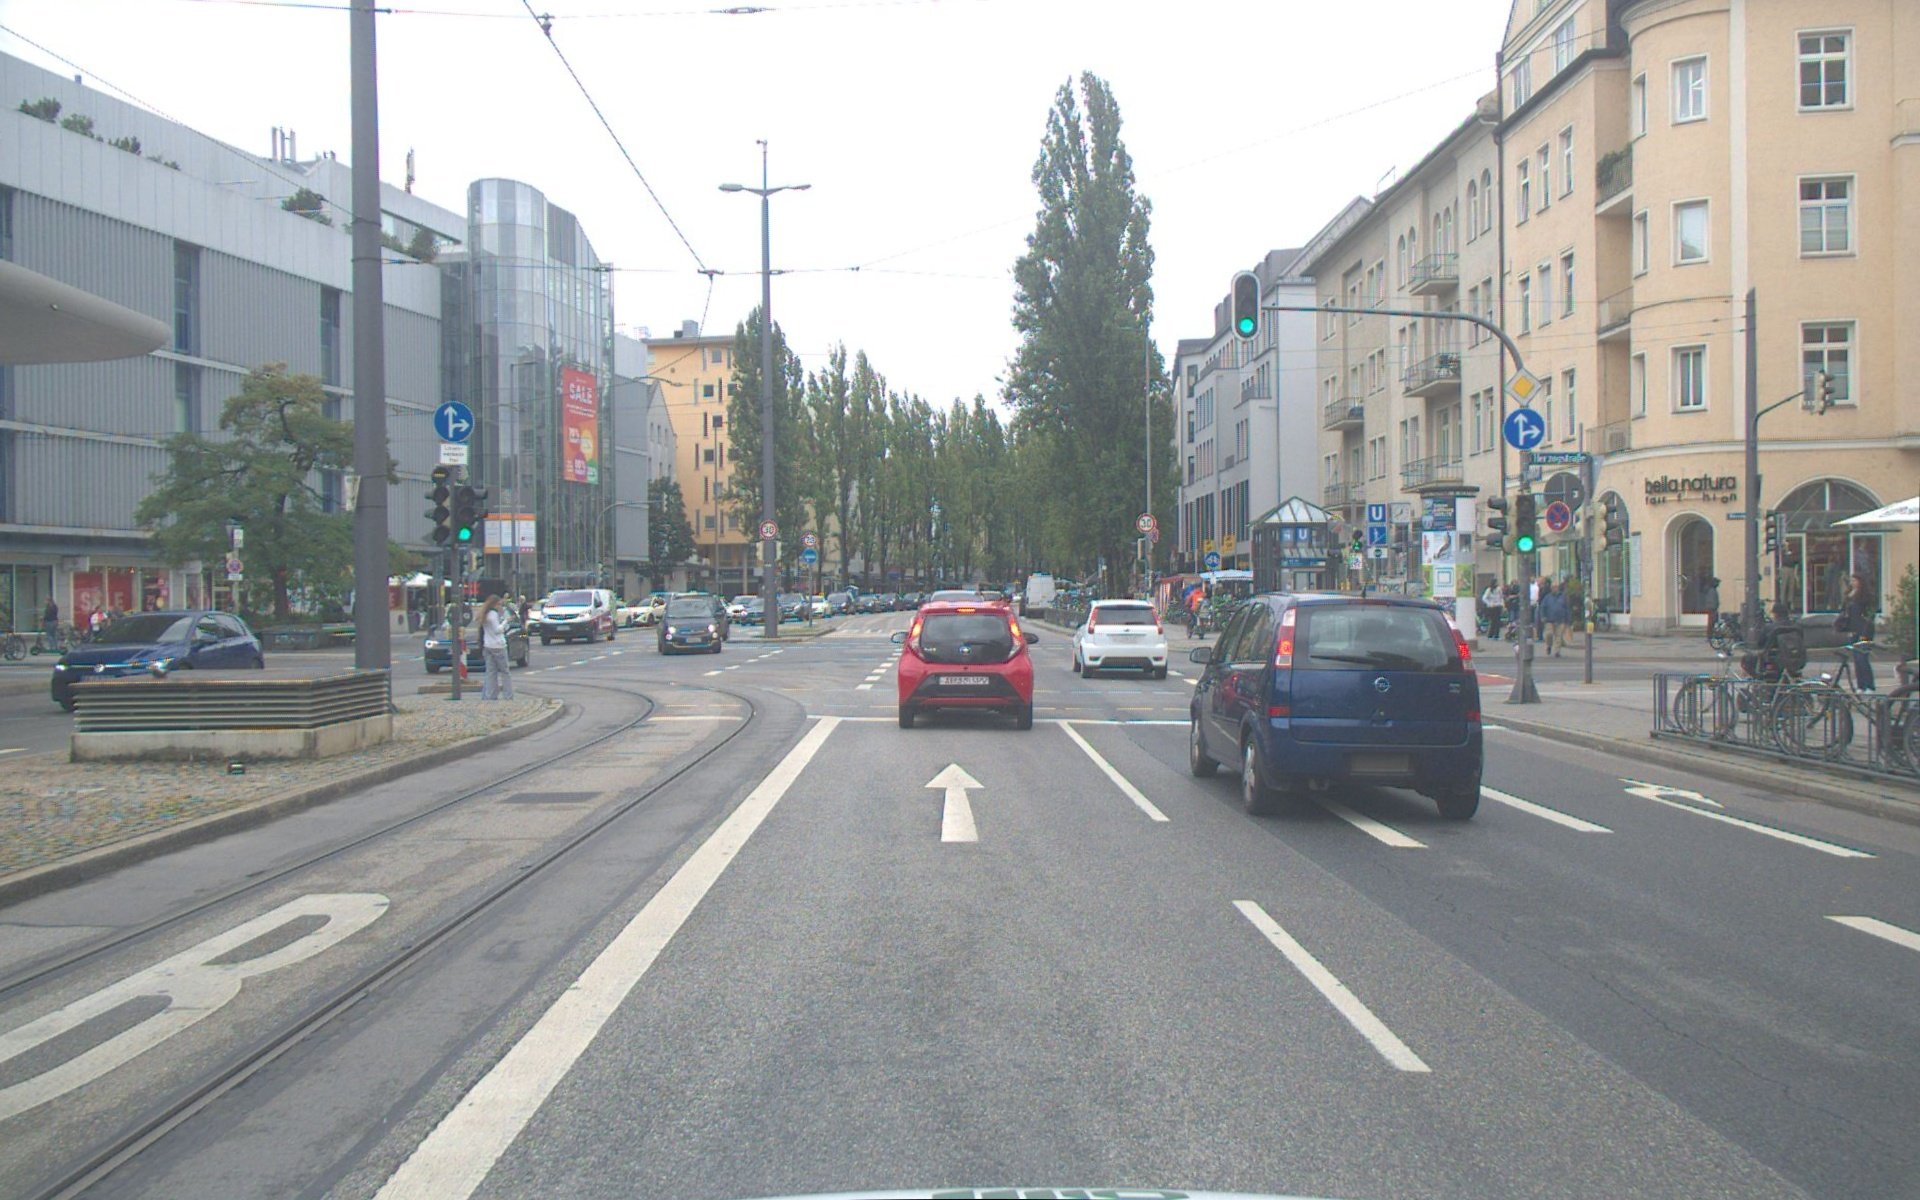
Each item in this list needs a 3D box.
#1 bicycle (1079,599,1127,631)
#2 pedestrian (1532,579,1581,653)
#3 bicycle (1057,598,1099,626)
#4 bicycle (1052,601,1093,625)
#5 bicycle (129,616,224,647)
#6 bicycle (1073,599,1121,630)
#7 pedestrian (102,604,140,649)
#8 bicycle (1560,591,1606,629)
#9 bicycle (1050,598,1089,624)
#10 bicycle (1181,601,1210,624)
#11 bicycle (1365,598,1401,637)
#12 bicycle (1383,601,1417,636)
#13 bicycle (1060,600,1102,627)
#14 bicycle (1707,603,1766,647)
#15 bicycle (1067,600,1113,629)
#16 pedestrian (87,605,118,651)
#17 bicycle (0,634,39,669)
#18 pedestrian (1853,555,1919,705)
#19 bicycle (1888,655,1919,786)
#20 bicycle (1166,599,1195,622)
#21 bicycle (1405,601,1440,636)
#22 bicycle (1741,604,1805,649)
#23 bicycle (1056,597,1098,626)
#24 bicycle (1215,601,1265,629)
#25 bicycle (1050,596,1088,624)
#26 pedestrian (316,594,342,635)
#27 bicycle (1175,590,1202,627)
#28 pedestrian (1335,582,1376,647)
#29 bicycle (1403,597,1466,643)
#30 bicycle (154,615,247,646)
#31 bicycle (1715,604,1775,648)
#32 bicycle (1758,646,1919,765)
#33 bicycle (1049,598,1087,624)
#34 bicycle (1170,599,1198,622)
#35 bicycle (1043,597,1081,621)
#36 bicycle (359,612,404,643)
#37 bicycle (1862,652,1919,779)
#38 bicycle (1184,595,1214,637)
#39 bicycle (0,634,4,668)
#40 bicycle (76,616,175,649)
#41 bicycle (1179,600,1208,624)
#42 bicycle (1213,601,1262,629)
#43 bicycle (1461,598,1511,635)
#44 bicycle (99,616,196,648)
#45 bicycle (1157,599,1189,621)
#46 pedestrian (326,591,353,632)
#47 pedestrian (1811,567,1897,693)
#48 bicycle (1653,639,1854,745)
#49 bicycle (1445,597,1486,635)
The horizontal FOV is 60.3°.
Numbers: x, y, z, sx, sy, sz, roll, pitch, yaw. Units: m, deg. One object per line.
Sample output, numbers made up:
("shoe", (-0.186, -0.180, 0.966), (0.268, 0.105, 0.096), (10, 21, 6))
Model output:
("bicycle", (5.406, 0.562, 62.676), (1.765, 1.178, 0.486), (-1, 0, 30))
("pedestrian", (14.557, 0.385, 40.387), (0.914, 1.786, 1.066), (-1, 0, 8))
("bicycle", (5.051, 0.523, 70.942), (1.805, 1.188, 0.583), (0, 0, 42))
("bicycle", (4.973, 0.567, 73.131), (1.805, 1.070, 0.583), (0, 0, 42))
("bicycle", (-30.979, 1.242, 65.403), (3.419, 1.177, 1.061), (-1, 0, 12))
("bicycle", (5.288, 0.565, 64.051), (1.768, 1.178, 0.650), (0, 0, 36))
("pedestrian", (-30.759, 0.965, 60.639), (0.780, 1.608, 0.978), (-1, 0, 10))
("bicycle", (18.654, 0.299, 49.567), (0.485, 1.108, 1.864), (-1, 0, -6))
("bicycle", (5.032, 0.513, 75.864), (1.805, 1.156, 0.583), (0, 0, 42))
("bicycle", (9.921, 0.524, 69.777), (1.156, 0.980, 0.369), (-1, 0, 3))
("bicycle", (12.510, 0.503, 48.918), (0.555, 1.127, 1.866), (-1, 0, -1))
("bicycle", (13.001, 0.527, 48.906), (0.484, 0.992, 1.866), (-1, 0, -1))
("bicycle", (5.098, 0.561, 69.614), (1.773, 1.130, 0.583), (0, 0, 42))
("bicycle", (19.365, 0.625, 41.243), (1.552, 1.051, 0.247), (-1, 0, -15))
("bicycle", (5.195, 0.578, 66.112), (1.769, 1.130, 0.649), (0, 0, 37))
("pedestrian", (-30.149, 0.979, 58.154), (0.624, 1.601, 0.721), (-1, 0, 12))
("bicycle", (-28.107, 1.540, 49.024), (0.516, 1.015, 1.986), (-1, -2, 0))
("pedestrian", (11.564, 0.349, 20.116), (0.867, 1.773, 0.854), (-1, 0, -17))
("bicycle", (8.142, 0.935, 12.612), (1.810, 1.013, 0.346), (-2, 0, 43))
("bicycle", (9.939, 0.467, 74.628), (1.235, 0.980, 0.369), (-1, 0, 2))
("bicycle", (13.666, 0.544, 48.918), (0.484, 0.992, 1.866), (-1, 0, -1))
("bicycle", (19.850, 0.641, 40.394), (1.552, 1.051, 0.356), (-1, 0, -15))
("bicycle", (5.071, 0.502, 71.724), (1.805, 1.218, 0.583), (0, 0, 42))
("bicycle", (10.237, 0.552, 60.529), (1.718, 0.981, 0.453), (-1, 0, 0))
("bicycle", (5.091, 0.461, 77.292), (1.805, 1.263, 0.583), (0, 0, 42))
("pedestrian", (-24.140, 0.551, 63.245), (0.743, 1.519, 0.763), (-1, 0, -35))
("bicycle", (8.118, 0.289, 58.931), (0.601, 1.287, 2.520), (-1, 0, 0))
("pedestrian", (10.729, 0.385, 44.891), (0.820, 1.720, 0.816), (-1, 0, 37))
("bicycle", (12.752, 0.540, 44.468), (1.536, 1.180, 0.525), (-2, 2, 2))
("bicycle", (-30.692, 1.242, 66.840), (3.419, 1.177, 1.061), (-1, 0, 12))
("bicycle", (19.449, 0.628, 40.990), (1.552, 1.051, 0.247), (-1, 0, -15))
("bicycle", (8.112, 0.925, 14.686), (1.811, 1.013, 0.345), (-2, 0, 44))
("bicycle", (5.007, 0.516, 76.625), (1.805, 1.156, 0.583), (0, 0, 42))
("bicycle", (9.924, 0.468, 73.340), (1.208, 0.980, 0.367), (-1, 0, -23))
("bicycle", (4.915, 0.447, 79.550), (1.801, 1.156, 0.584), (0, 0, 36))
("bicycle", (-21.154, 1.013, 60.482), (1.541, 1.131, 0.373), (0, 0, 3))
("bicycle", (8.246, 0.935, 13.182), (0.345, 1.013, 1.812), (-1, 0, -44))
("bicycle", (7.635, 0.506, 52.901), (0.601, 1.287, 2.520), (-1, 0, 0))
("bicycle", (-29.247, 1.512, 49.150), (0.516, 1.015, 1.986), (-1, -2, 0))
("bicycle", (-31.552, 1.240, 62.549), (3.419, 1.177, 1.061), (-1, 0, 12))
("bicycle", (9.911, 0.502, 70.320), (1.157, 0.980, 0.369), (-1, 0, -2))
("bicycle", (10.267, 0.544, 61.222), (1.718, 0.981, 0.369), (-1, 0, 0))
("bicycle", (15.636, 0.483, 49.191), (0.486, 1.077, 1.858), (-1, 0, -15))
("bicycle", (-31.310, 1.240, 63.765), (3.419, 1.177, 1.061), (-1, 0, 12))
("bicycle", (9.807, 0.462, 76.115), (1.401, 0.980, 0.369), (-1, 0, 5))
("pedestrian", (-24.133, 0.455, 64.304), (0.745, 1.581, 0.761), (-1, 0, -40))
("pedestrian", (12.578, 0.411, 23.265), (0.749, 1.725, 0.761), (-1, 0, -26))
("bicycle", (8.047, 0.914, 16.842), (1.811, 1.013, 0.345), (-2, 0, 44))
("bicycle", (14.939, 0.471, 48.930), (0.485, 1.077, 1.864), (-1, 0, -5))
